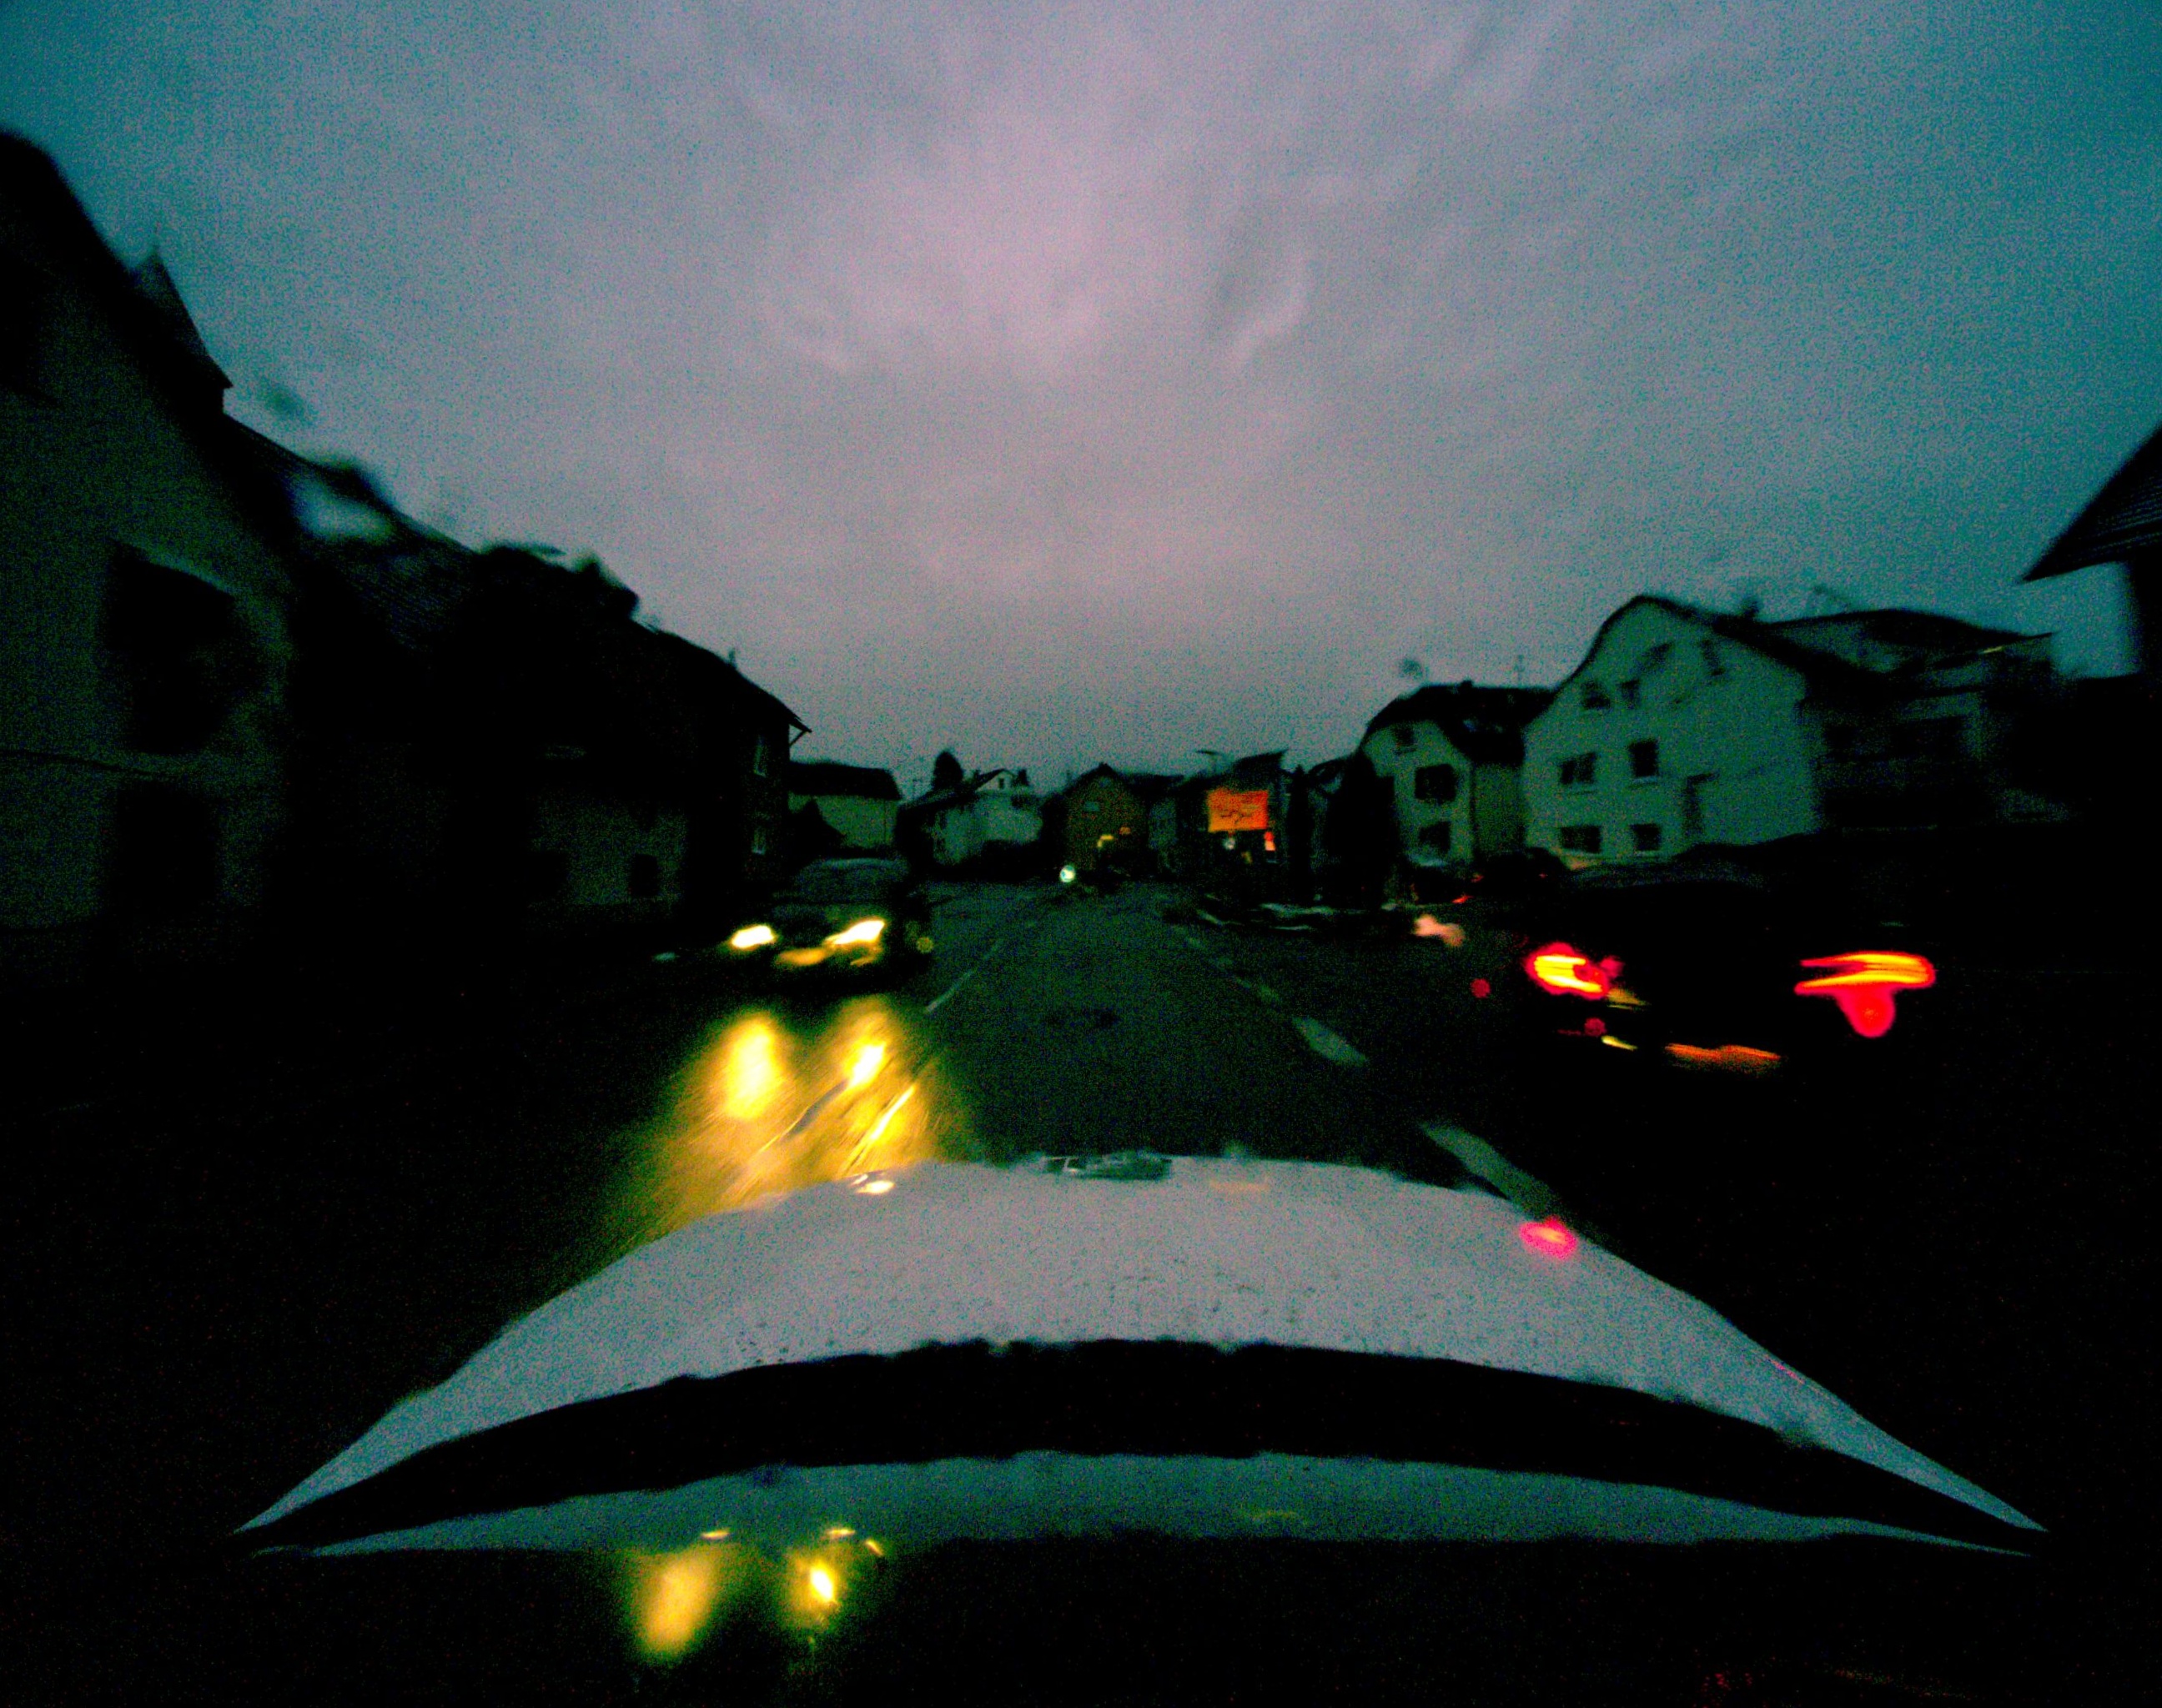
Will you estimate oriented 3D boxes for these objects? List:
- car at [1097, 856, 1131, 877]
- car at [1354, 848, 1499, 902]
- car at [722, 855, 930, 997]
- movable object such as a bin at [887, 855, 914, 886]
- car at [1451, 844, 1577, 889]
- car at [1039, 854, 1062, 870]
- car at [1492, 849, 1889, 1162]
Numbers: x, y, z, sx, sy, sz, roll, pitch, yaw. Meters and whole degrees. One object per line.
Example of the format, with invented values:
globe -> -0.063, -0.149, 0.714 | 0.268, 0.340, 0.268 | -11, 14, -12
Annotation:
car -> 2.688, 1.002, 67.100 | 1.993, 1.644, 3.987 | 0, 0, -10
car -> 11.804, 0.716, 28.174 | 1.818, 1.628, 4.513 | -3, 0, -25
car -> -3.410, 0.861, 11.733 | 1.908, 1.653, 3.996 | 0, 0, -3
movable object such as a bin -> -9.236, 0.853, 41.740 | 1.093, 1.543, 1.288 | -1, 0, -2
car -> 16.619, 0.480, 31.476 | 1.818, 1.566, 3.966 | -3, 0, -25
car -> -3.294, 0.845, 86.390 | 1.993, 1.644, 3.987 | 0, 0, -10
car -> 3.867, 0.725, 5.824 | 1.532, 1.466, 3.720 | -1, -1, 25
